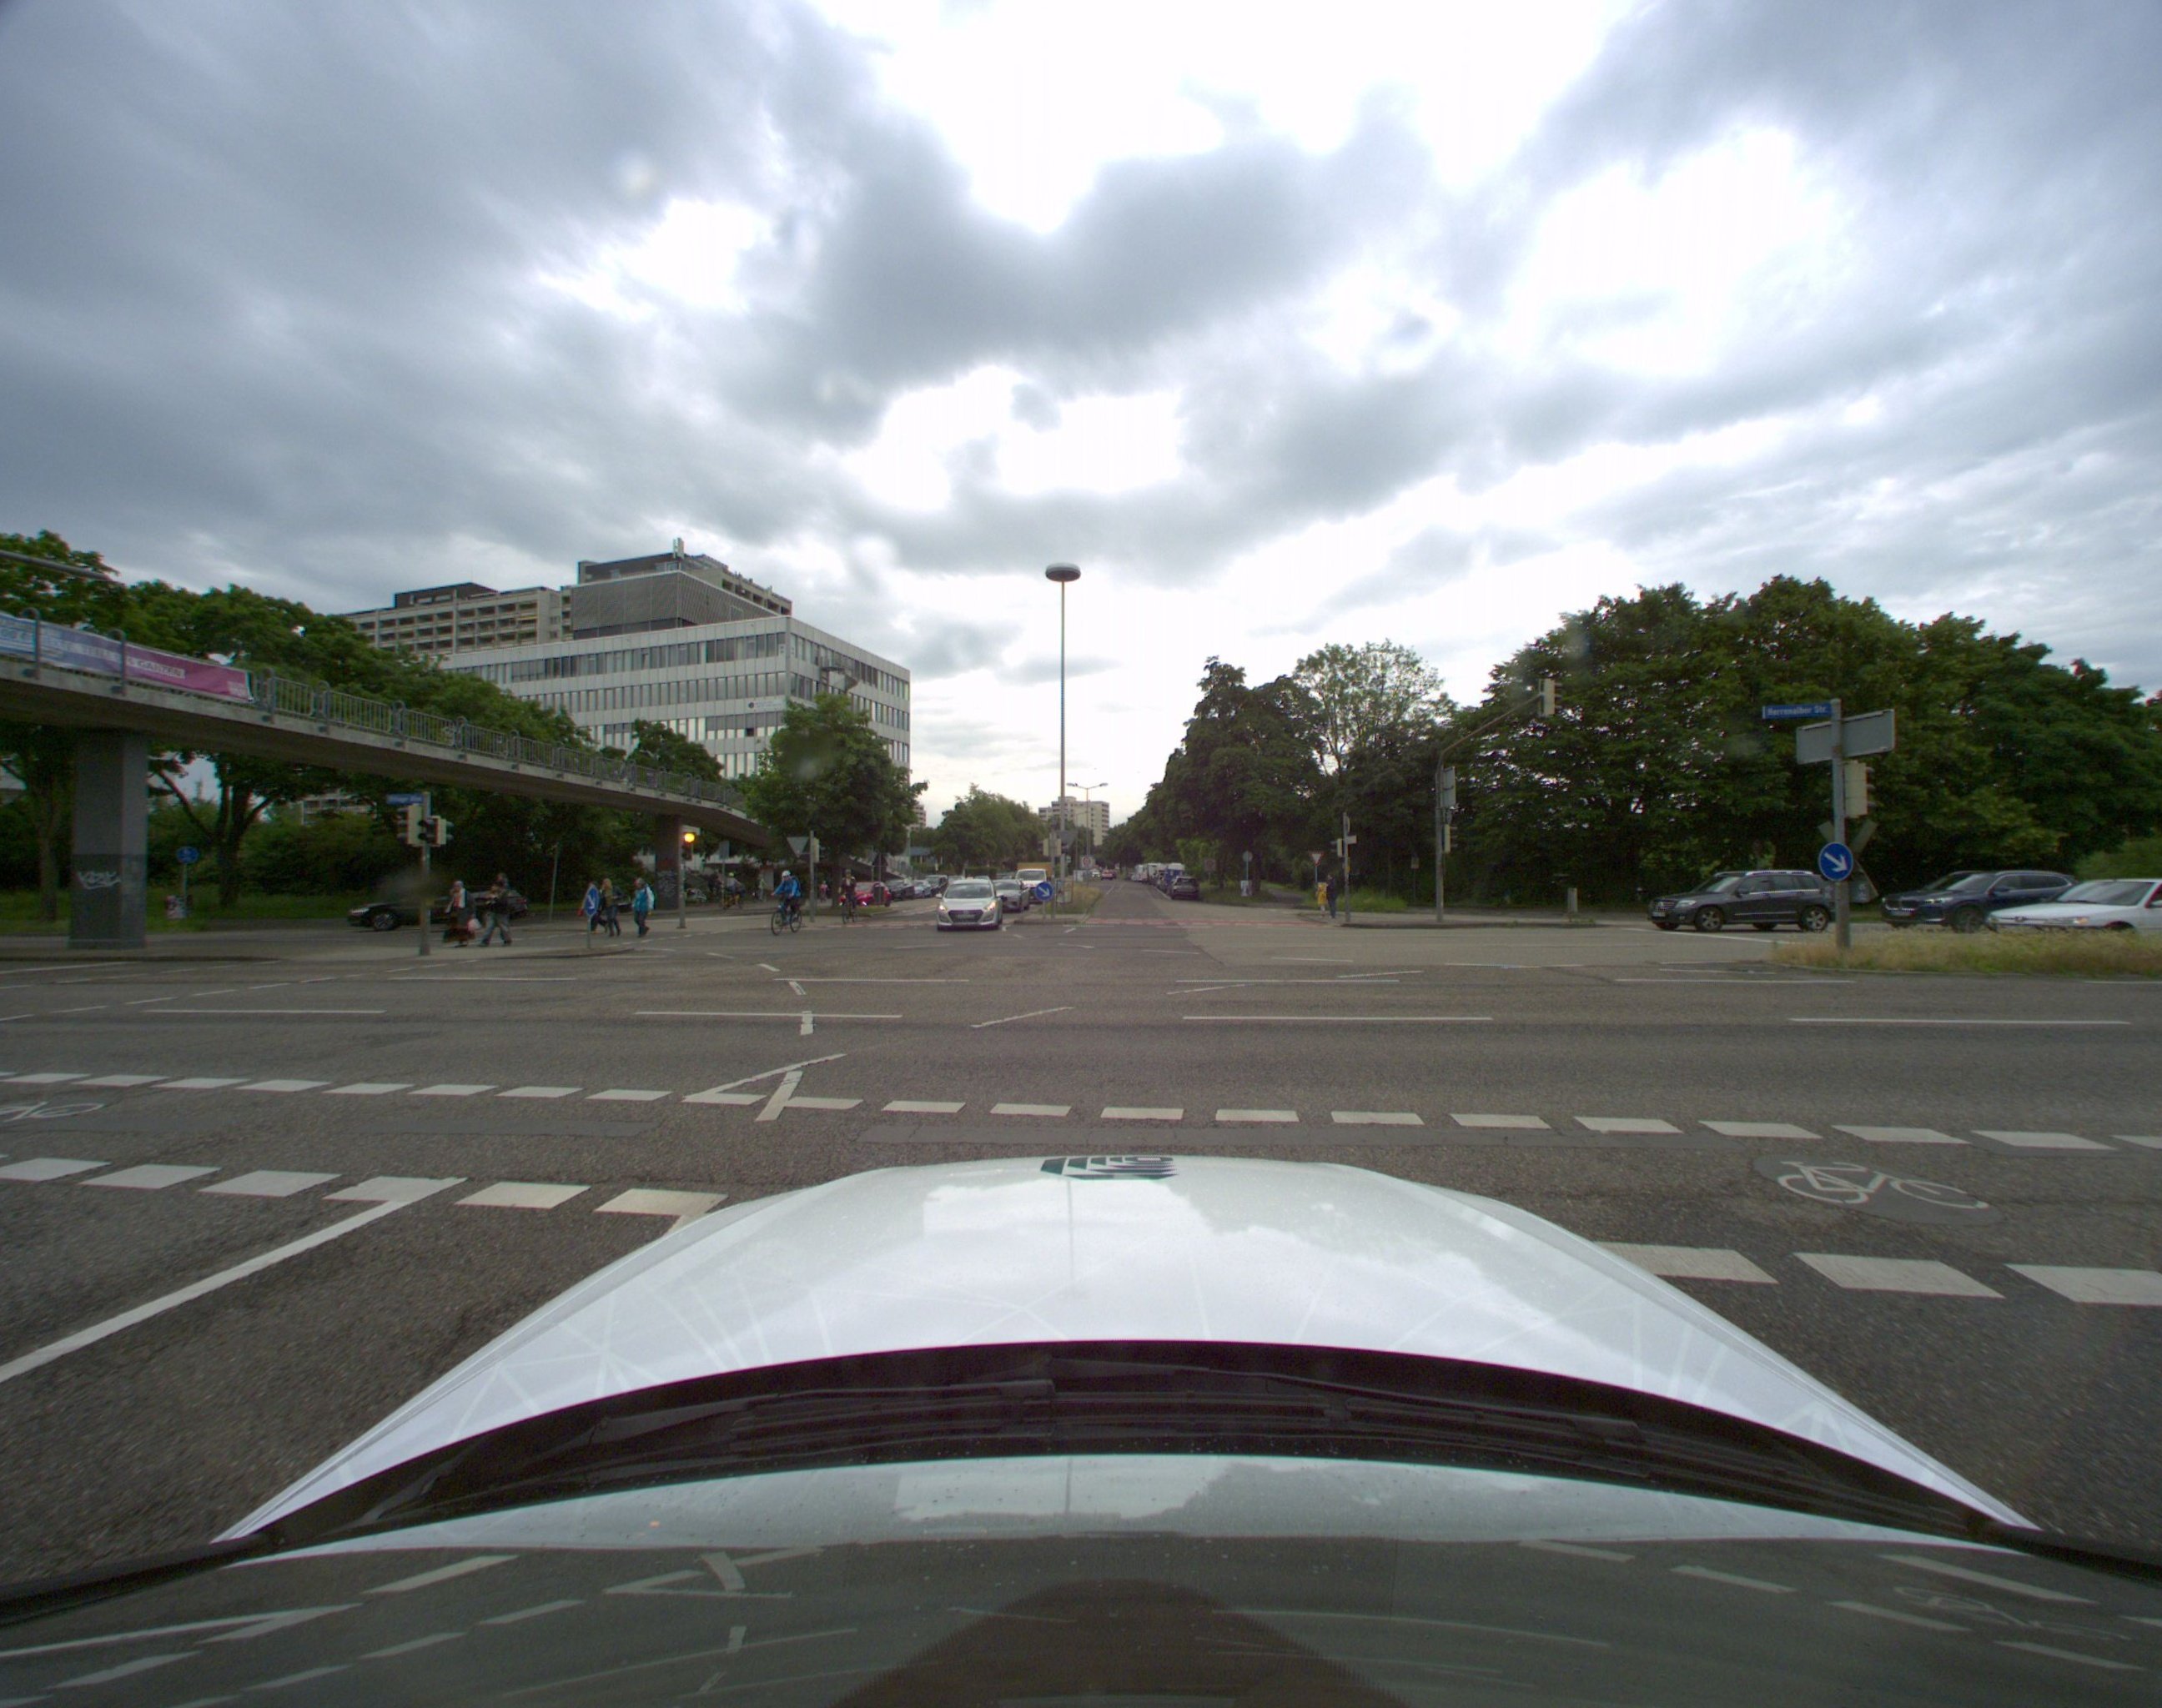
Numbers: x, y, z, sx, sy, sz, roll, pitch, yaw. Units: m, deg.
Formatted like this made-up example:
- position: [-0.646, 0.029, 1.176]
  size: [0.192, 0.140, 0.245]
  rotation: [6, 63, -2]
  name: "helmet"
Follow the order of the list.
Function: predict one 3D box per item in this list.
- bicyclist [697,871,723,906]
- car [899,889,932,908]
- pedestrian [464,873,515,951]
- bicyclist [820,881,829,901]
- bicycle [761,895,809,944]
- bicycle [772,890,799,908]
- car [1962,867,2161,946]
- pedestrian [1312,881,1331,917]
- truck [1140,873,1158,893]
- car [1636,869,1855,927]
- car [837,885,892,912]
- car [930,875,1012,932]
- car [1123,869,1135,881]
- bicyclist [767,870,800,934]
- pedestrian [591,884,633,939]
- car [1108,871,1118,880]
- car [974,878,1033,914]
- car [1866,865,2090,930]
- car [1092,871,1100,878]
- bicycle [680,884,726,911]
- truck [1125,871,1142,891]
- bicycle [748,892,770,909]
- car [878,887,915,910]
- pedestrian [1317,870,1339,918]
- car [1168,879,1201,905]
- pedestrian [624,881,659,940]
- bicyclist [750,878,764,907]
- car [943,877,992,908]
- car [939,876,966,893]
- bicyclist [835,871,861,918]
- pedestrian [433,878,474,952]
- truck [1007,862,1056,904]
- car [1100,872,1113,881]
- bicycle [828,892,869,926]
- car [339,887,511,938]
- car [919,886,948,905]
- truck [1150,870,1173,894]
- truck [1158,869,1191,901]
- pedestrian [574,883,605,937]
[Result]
- position: [-20.216, 1.884, 44.379]
  size: [0.852, 1.893, 1.128]
  rotation: [-1, -2, 3]
  name: "bicyclist"
- position: [-12.919, 3.467, 63.924]
  size: [1.665, 1.387, 3.896]
  rotation: [-1, -2, 2]
  name: "car"
- position: [-13.981, 1.357, 19.266]
  size: [0.636, 1.804, 0.800]
  rotation: [0, -2, -8]
  name: "pedestrian"
- position: [-16.025, 2.304, 50.818]
  size: [0.403, 1.182, 0.377]
  rotation: [-1, -2, 3]
  name: "bicyclist"
- position: [-8.323, 1.820, 22.993]
  size: [0.541, 1.267, 2.111]
  rotation: [0, -2, 1]
  name: "bicycle"
- position: [-16.494, 2.525, 45.516]
  size: [0.759, 0.949, 1.953]
  rotation: [-1, -2, 1]
  name: "bicycle"
- position: [19.106, 0.921, 14.895]
  size: [4.121, 1.357, 1.647]
  rotation: [-1, -2, 1]
  name: "car"
- position: [9.019, 1.691, 30.528]
  size: [0.525, 1.342, 0.525]
  rotation: [0, -2, 1]
  name: "pedestrian"
- position: [9.356, 4.056, 112.734]
  size: [1.988, 2.573, 5.375]
  rotation: [-1, -3, -1]
  name: "truck"
- position: [18.130, 1.196, 22.392]
  size: [4.448, 1.504, 1.846]
  rotation: [-1, -2, 1]
  name: "car"
- position: [-11.551, 2.350, 43.588]
  size: [1.503, 1.390, 3.541]
  rotation: [-1, -3, 9]
  name: "car"
- position: [-3.212, 1.423, 24.602]
  size: [1.782, 1.519, 4.326]
  rotation: [-1, -1, 1]
  name: "car"
- position: [8.264, 3.610, 139.565]
  size: [1.647, 1.918, 3.914]
  rotation: [0, -1, -3]
  name: "car"
- position: [-8.319, 1.339, 22.772]
  size: [0.641, 1.769, 0.647]
  rotation: [-1, -2, 2]
  name: "bicyclist"
- position: [-13.077, 1.584, 22.735]
  size: [0.917, 1.511, 0.402]
  rotation: [0, -2, -10]
  name: "pedestrian"
- position: [6.058, 4.162, 154.198]
  size: [1.393, 1.633, 3.478]
  rotation: [0, -3, -6]
  name: "car"
- position: [-3.304, 1.790, 35.579]
  size: [1.889, 1.420, 4.739]
  rotation: [-1, -1, 3]
  name: "car"
- position: [24.134, 1.160, 22.028]
  size: [3.974, 1.618, 1.878]
  rotation: [-1, -2, -1]
  name: "car"
- position: [3.541, 4.901, 192.930]
  size: [2.013, 1.505, 4.000]
  rotation: [-1, -2, 1]
  name: "car"
- position: [-20.329, 2.317, 43.896]
  size: [0.852, 1.315, 3.232]
  rotation: [-1, -1, 3]
  name: "bicycle"
- position: [7.897, 4.094, 123.550]
  size: [1.988, 3.009, 5.766]
  rotation: [-1, -3, -2]
  name: "truck"
- position: [-18.795, 2.692, 47.506]
  size: [0.524, 0.949, 1.710]
  rotation: [-1, -2, 3]
  name: "bicycle"
- position: [-13.187, 3.200, 58.438]
  size: [1.665, 1.552, 3.893]
  rotation: [-1, -2, 2]
  name: "car"
- position: [9.082, 1.476, 29.947]
  size: [0.654, 1.750, 0.459]
  rotation: [0, -2, 0]
  name: "pedestrian"
- position: [6.875, 2.540, 54.549]
  size: [1.777, 1.662, 4.000]
  rotation: [-1, -2, 1]
  name: "car"
- position: [-12.153, 1.550, 22.509]
  size: [0.685, 1.605, 0.487]
  rotation: [0, -2, -4]
  name: "pedestrian"
- position: [-18.879, 2.252, 47.466]
  size: [0.562, 1.645, 0.532]
  rotation: [-1, -3, 3]
  name: "bicyclist"
- position: [-5.774, 1.967, 41.828]
  size: [1.763, 1.478, 4.390]
  rotation: [-1, -2, 1]
  name: "car"
- position: [-12.051, 2.822, 76.631]
  size: [1.668, 1.488, 4.003]
  rotation: [-1, -1, 3]
  name: "car"
- position: [-8.107, 1.416, 28.325]
  size: [0.676, 1.595, 0.695]
  rotation: [-1, -3, 1]
  name: "bicyclist"
- position: [-14.660, 1.409, 19.031]
  size: [0.619, 1.691, 0.403]
  rotation: [0, -2, -13]
  name: "pedestrian"
- position: [-2.675, 1.604, 45.760]
  size: [2.147, 2.199, 5.842]
  rotation: [-1, -2, 2]
  name: "truck"
- position: [4.360, 3.843, 140.868]
  size: [2.015, 1.505, 3.996]
  rotation: [0, -2, -2]
  name: "car"
- position: [-8.081, 1.910, 28.415]
  size: [0.724, 1.101, 2.264]
  rotation: [0, -2, 1]
  name: "bicycle"
- position: [-22.167, 1.934, 27.776]
  size: [4.416, 1.508, 1.654]
  rotation: [0, -2, -35]
  name: "car"
- position: [-12.498, 3.506, 69.251]
  size: [1.665, 1.552, 3.763]
  rotation: [-1, -2, 2]
  name: "car"
- position: [9.929, 3.486, 100.669]
  size: [1.989, 2.839, 5.724]
  rotation: [0, -2, -3]
  name: "truck"
- position: [8.118, 2.760, 71.342]
  size: [2.167, 2.657, 6.246]
  rotation: [-1, -3, 1]
  name: "truck"
- position: [-14.605, 1.656, 24.224]
  size: [0.580, 1.579, 0.777]
  rotation: [0, -2, -17]
  name: "pedestrian"
